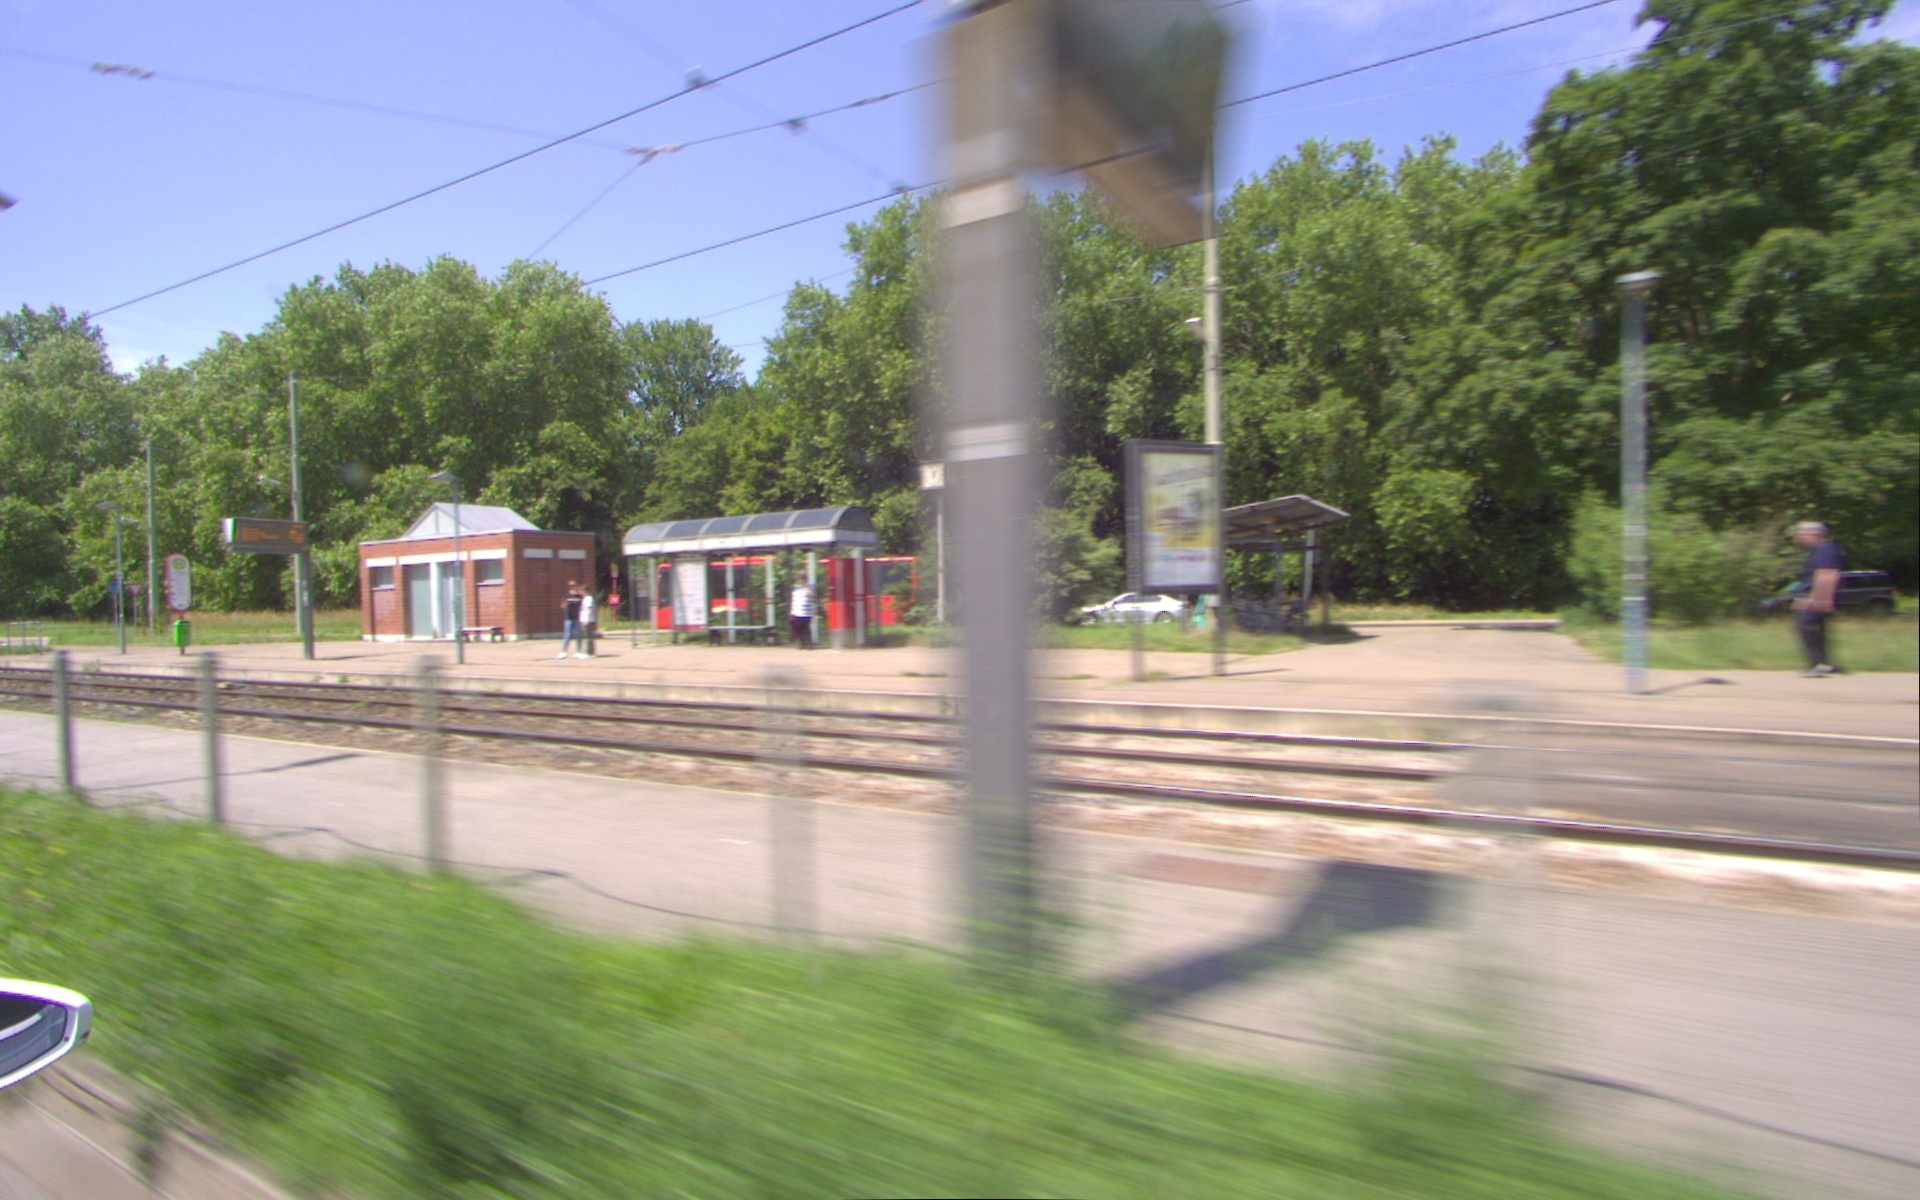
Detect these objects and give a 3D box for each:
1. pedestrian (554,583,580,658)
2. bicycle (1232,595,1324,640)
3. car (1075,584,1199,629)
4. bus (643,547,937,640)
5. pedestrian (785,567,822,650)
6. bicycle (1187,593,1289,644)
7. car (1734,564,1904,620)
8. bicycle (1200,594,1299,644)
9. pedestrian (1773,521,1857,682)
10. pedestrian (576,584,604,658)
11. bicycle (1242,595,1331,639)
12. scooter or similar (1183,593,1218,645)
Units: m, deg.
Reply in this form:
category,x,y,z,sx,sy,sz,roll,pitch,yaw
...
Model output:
category,x,y,z,sx,sy,sz,roll,pitch,yaw
pedestrian,-8.893,0.468,22.652,0.439,1.667,0.359,-2,-1,35
bicycle,8.171,0.434,25.805,2.159,1.102,0.596,1,2,33
car,6.970,0.246,39.481,4.637,1.651,1.998,-1,1,11
bus,-7.259,-0.170,42.738,12.213,3.483,2.767,-2,-1,13
pedestrian,-3.470,0.197,22.207,0.730,1.797,0.380,-2,-1,35
bicycle,6.329,0.403,22.858,2.159,1.102,0.596,1,2,33
car,29.334,-0.270,34.312,3.925,1.795,1.998,-1,1,12
bicycle,6.810,0.424,23.627,2.159,1.102,0.596,1,2,33
pedestrian,9.878,0.019,11.592,0.648,1.788,0.704,-1,1,34
pedestrian,-8.255,0.474,22.339,0.476,1.617,0.359,-2,-1,35
bicycle,8.731,0.446,26.831,2.159,1.102,0.596,1,2,33
scooter or similar,5.332,0.414,22.253,0.742,1.150,0.244,0,1,10
